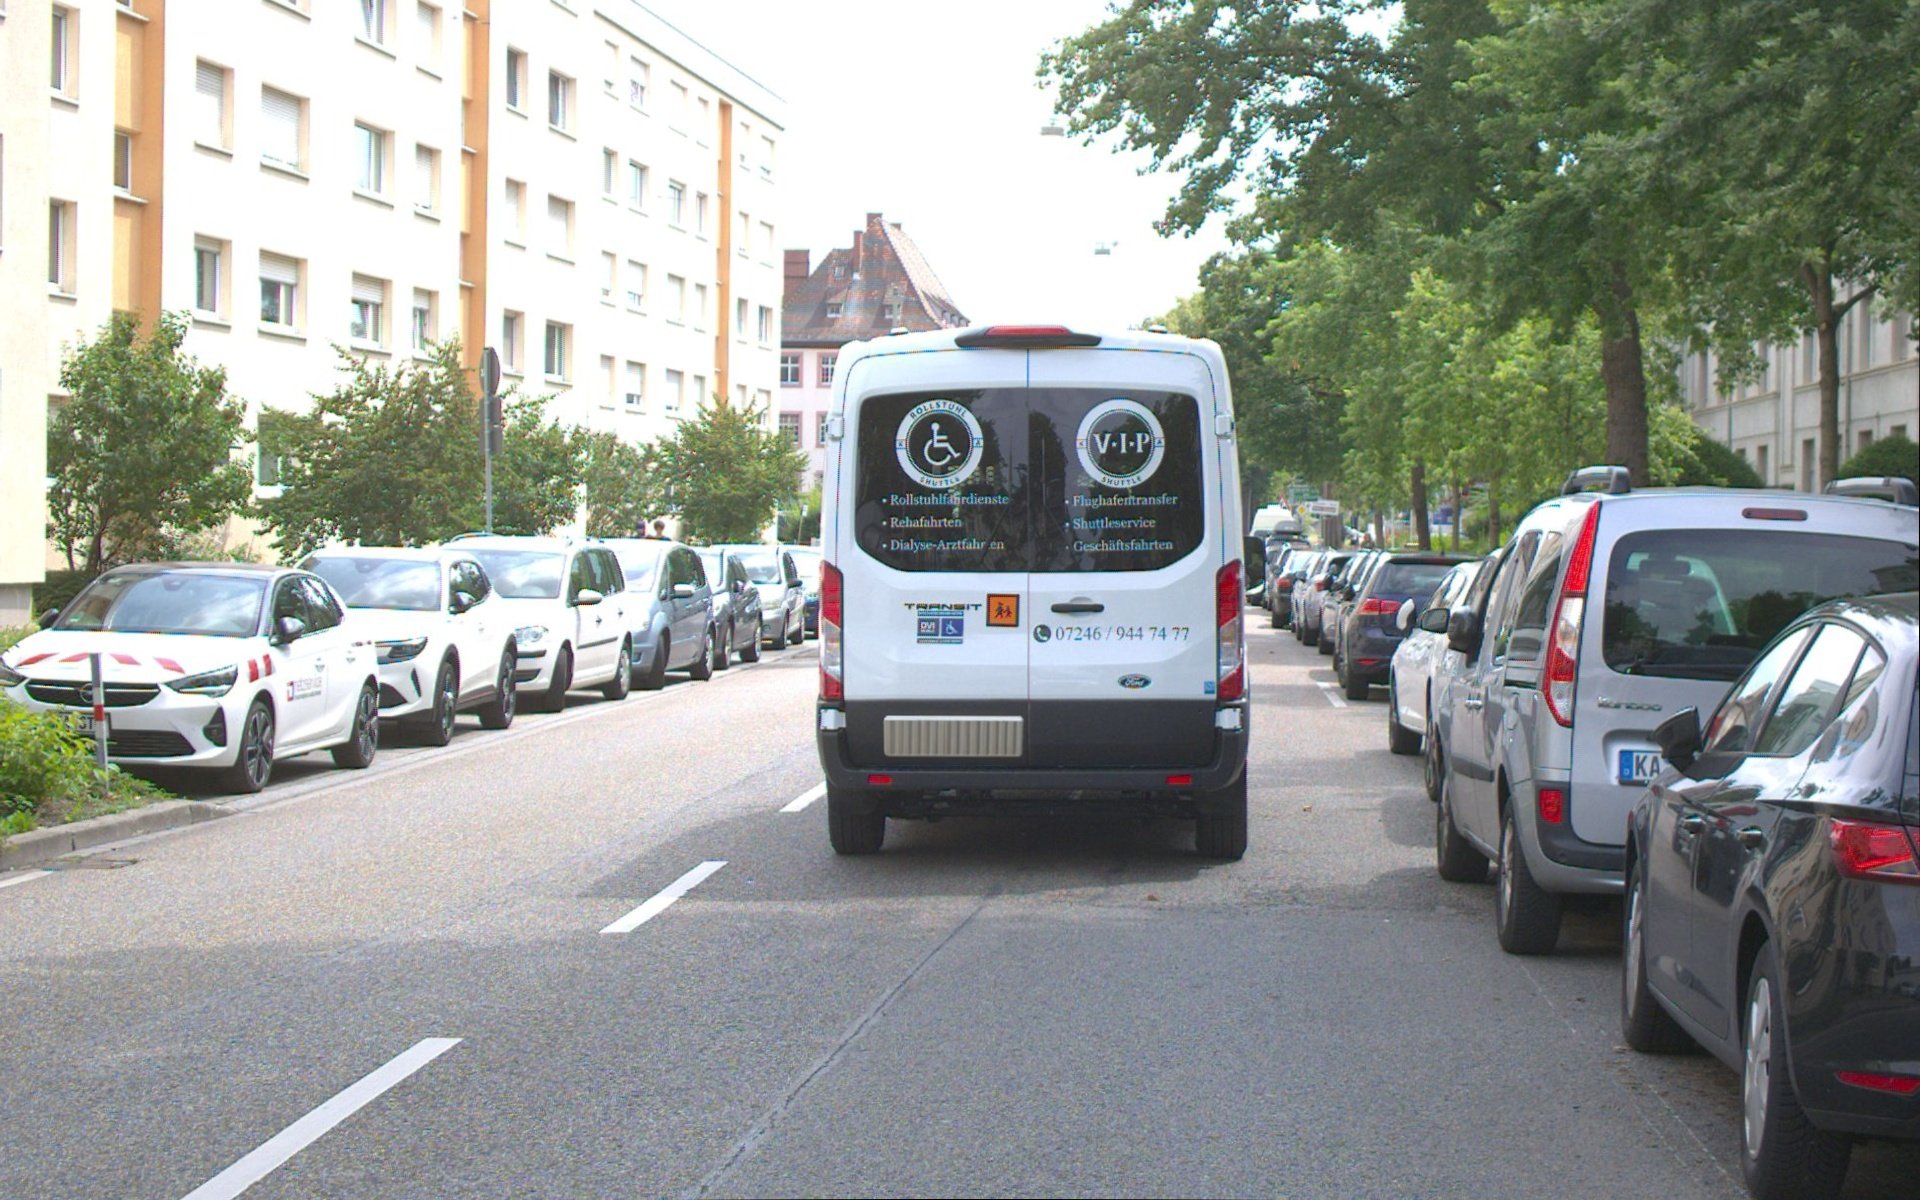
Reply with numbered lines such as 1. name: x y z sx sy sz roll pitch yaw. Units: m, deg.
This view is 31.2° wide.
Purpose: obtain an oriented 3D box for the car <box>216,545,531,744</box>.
1. car: -4.753 0.307 28.370 1.708 1.468 3.989 2 1 3

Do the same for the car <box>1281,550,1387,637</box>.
1. car: 6.828 -0.150 62.446 1.780 1.464 4.613 2 1 7

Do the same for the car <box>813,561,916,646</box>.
1. car: -1.873 0.042 68.340 1.723 1.534 4.004 1 2 3

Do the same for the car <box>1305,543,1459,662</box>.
1. car: 5.683 -0.006 46.755 1.697 1.464 4.754 2 1 3

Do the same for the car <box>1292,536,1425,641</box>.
1. car: 6.043 -0.205 52.541 1.697 1.464 4.717 2 1 3

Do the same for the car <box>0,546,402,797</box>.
1. car: -5.118 0.406 22.987 1.709 1.468 3.988 2 1 6

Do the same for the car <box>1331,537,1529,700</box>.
1. car: 4.624 0.143 34.271 1.697 1.464 4.100 2 1 5

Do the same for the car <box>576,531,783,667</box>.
1. car: -3.580 -0.046 44.597 1.942 1.607 4.301 2 1 5

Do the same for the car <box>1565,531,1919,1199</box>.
1. car: 2.715 0.587 8.815 1.918 1.439 4.238 2 1 6

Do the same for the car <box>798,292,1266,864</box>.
1. car: 0.419 -0.115 17.583 2.070 2.531 4.634 0 0 3

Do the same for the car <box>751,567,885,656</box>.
1. car: -2.544 0.185 62.361 1.818 1.478 4.115 2 1 6

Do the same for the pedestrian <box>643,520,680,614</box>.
1. pedestrian: -5.786 -0.643 66.724 0.619 1.807 0.803 0 1 2

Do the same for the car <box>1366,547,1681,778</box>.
1. car: 3.869 0.367 24.196 1.697 1.445 4.101 1 1 3

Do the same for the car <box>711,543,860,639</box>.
1. car: -2.854 -0.170 57.000 1.818 1.478 3.884 2 1 6

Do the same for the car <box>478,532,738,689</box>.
1. car: -3.930 0.076 39.217 1.943 1.607 4.860 2 1 6

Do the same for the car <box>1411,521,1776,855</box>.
1. car: 3.419 0.409 19.119 1.605 1.602 3.804 2 1 6

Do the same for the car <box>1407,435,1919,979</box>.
1. car: 2.972 0.343 14.545 1.918 1.859 4.845 2 1 6

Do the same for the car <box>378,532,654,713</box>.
1. car: -4.298 0.170 33.934 1.697 1.607 4.476 2 1 6

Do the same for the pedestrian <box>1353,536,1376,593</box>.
1. pedestrian: 13.017 -1.139 110.755 0.522 1.822 0.524 -1 1 -37

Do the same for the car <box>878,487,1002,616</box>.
1. car: -0.440 -1.218 86.126 2.511 3.013 7.396 2 1 4

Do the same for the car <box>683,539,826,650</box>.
1. car: -3.062 -0.107 51.858 1.670 1.556 3.851 2 1 3

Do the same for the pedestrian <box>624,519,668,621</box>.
1. pedestrian: -5.625 -0.542 61.632 0.619 1.807 0.899 2 1 2
